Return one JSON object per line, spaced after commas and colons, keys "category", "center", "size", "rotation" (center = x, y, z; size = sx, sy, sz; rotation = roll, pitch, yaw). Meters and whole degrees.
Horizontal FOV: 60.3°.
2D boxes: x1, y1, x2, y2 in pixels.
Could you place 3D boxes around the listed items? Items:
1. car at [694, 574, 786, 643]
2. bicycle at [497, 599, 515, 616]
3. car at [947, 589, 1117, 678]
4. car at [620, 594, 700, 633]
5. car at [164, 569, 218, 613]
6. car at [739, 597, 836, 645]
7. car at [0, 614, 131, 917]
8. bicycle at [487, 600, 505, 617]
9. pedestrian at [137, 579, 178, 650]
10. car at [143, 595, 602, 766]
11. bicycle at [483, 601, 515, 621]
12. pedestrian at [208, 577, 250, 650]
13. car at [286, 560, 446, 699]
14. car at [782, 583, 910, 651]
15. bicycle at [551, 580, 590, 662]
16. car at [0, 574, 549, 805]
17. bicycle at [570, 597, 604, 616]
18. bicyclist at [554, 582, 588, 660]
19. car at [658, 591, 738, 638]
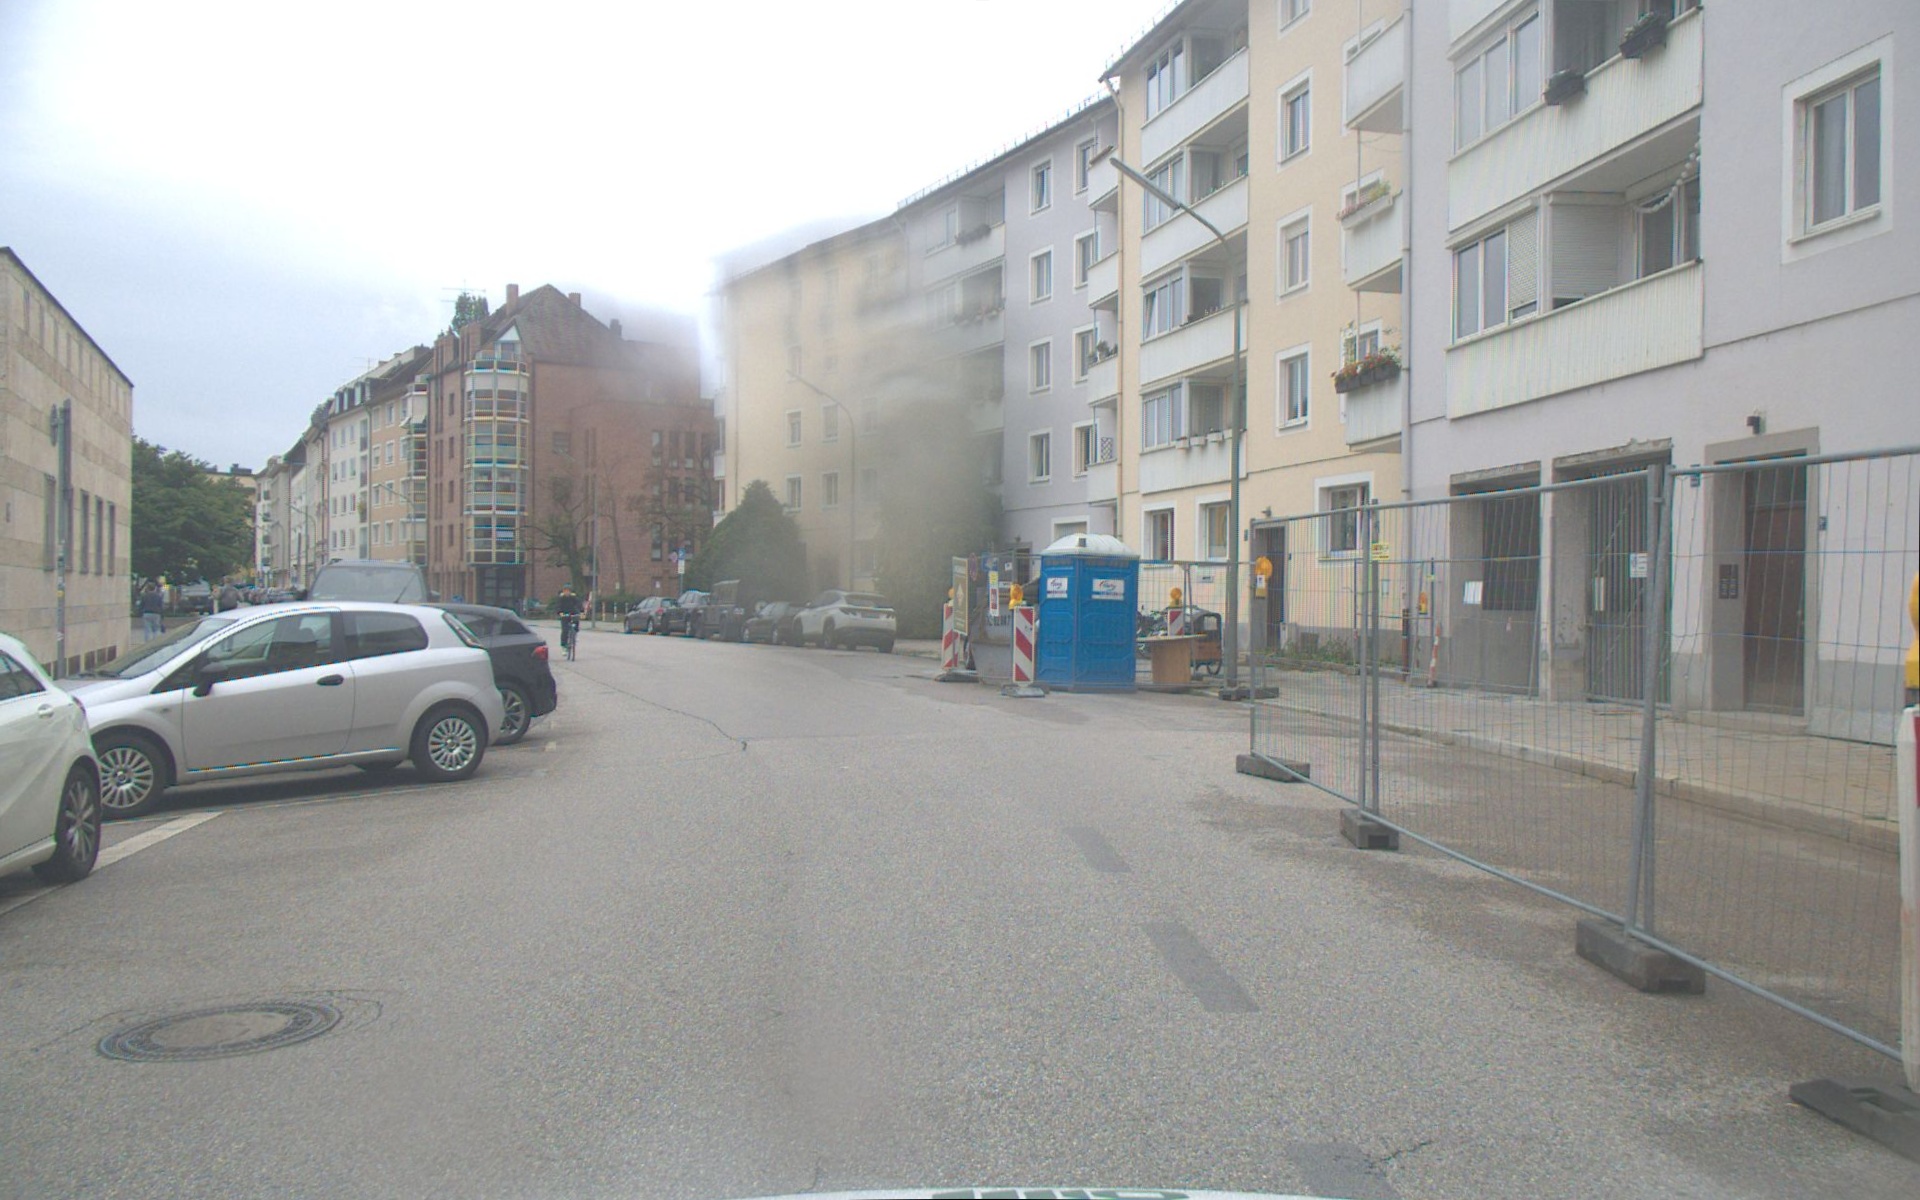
{"category": "car", "center": [-7.368, 0.243, 55.069], "size": [1.725, 2.118, 4.480], "rotation": [2, 0, -25]}
{"category": "bicycle", "center": [-28.810, 0.471, 104.934], "size": [0.481, 1.078, 1.972], "rotation": [2, -1, -34]}
{"category": "car", "center": [1.256, 0.571, 31.180], "size": [1.801, 1.467, 4.608], "rotation": [2, 0, -16]}
{"category": "car", "center": [-11.687, 0.531, 64.204], "size": [1.737, 1.421, 4.001], "rotation": [2, -2, -31]}
{"category": "car", "center": [-49.806, -0.570, 107.056], "size": [2.400, 2.762, 5.885], "rotation": [-1, 0, -33]}
{"category": "car", "center": [-5.335, 0.639, 50.672], "size": [1.640, 1.372, 3.768], "rotation": [2, -1, -28]}
{"category": "car", "center": [-5.437, 0.856, 7.456], "size": [1.794, 1.411, 4.133], "rotation": [-3, 1, -9]}
{"category": "bicycle", "center": [-29.345, 0.526, 104.571], "size": [0.482, 1.078, 1.972], "rotation": [2, -1, -34]}
{"category": "pedestrian", "center": [-18.863, 0.337, 38.880], "size": [0.595, 1.629, 0.641], "rotation": [2, 0, 39]}
{"category": "car", "center": [-5.766, 0.716, 16.539], "size": [3.977, 1.397, 1.721], "rotation": [-2, 1, -44]}
{"category": "bicycle", "center": [-28.744, 0.709, 103.210], "size": [1.825, 1.167, 0.484], "rotation": [2, 0, -26]}
{"category": "pedestrian", "center": [-18.061, 0.321, 40.881], "size": [0.781, 1.770, 0.817], "rotation": [2, 0, -15]}
{"category": "car", "center": [-8.549, 0.356, 24.156], "size": [1.962, 1.803, 4.792], "rotation": [0, 1, -17]}
{"category": "car", "center": [-3.228, 0.439, 46.018], "size": [2.001, 1.707, 4.576], "rotation": [2, 0, -25]}
{"category": "bicycle", "center": [-8.938, 0.439, 38.041], "size": [0.781, 1.752, 3.105], "rotation": [-2, 2, -13]}
{"category": "car", "center": [-5.492, 0.657, 13.228], "size": [3.948, 1.556, 1.650], "rotation": [2, 0, -42]}
{"category": "bicycle", "center": [-20.674, 0.361, 91.674], "size": [1.683, 0.982, 0.540], "rotation": [2, 0, -32]}
{"category": "bicyclist", "center": [-8.892, 0.458, 37.838], "size": [0.735, 1.747, 1.028], "rotation": [0, 1, -13]}
{"category": "car", "center": [-9.524, 0.511, 59.851], "size": [1.637, 1.593, 4.478], "rotation": [2, -1, -25]}
